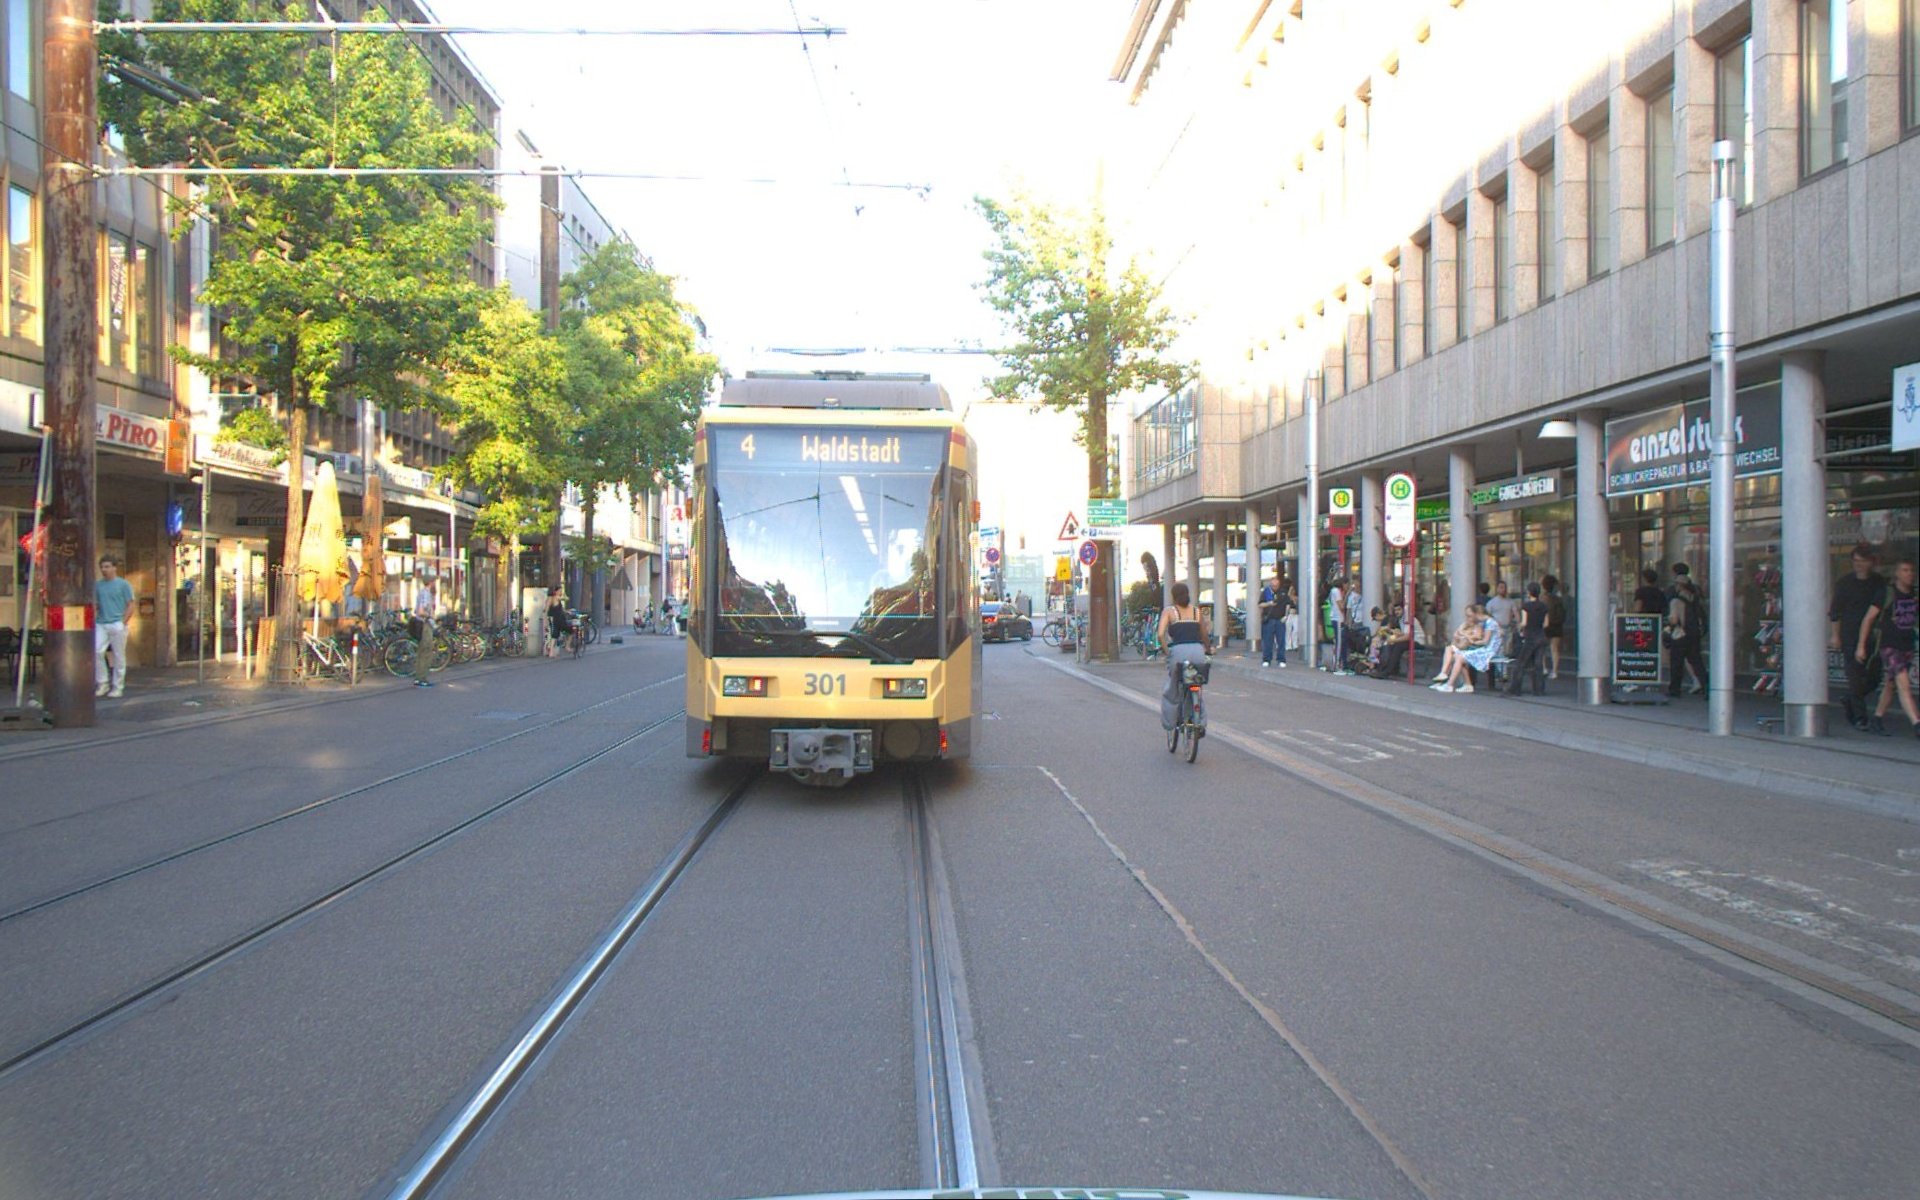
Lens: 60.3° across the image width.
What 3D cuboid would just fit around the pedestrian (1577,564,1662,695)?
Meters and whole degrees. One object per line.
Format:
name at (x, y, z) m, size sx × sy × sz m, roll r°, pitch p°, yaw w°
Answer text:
pedestrian at (9.441, 0.420, 23.710) m, size 0.827 × 1.829 × 0.858 m, roll -1°, pitch -1°, yaw -2°

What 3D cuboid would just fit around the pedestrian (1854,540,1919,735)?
pedestrian at (9.623, 0.370, 16.721) m, size 0.692 × 1.922 × 0.796 m, roll -1°, pitch -1°, yaw -1°

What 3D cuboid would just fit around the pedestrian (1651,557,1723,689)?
pedestrian at (10.836, 0.336, 24.666) m, size 0.673 × 1.916 × 0.773 m, roll -1°, pitch 0°, yaw -3°

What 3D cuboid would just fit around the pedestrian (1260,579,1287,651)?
pedestrian at (8.069, 0.375, 42.643) m, size 0.528 × 1.838 × 0.604 m, roll -1°, pitch 0°, yaw -3°

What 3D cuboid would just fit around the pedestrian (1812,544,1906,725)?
pedestrian at (9.768, 0.372, 17.989) m, size 0.603 × 1.922 × 0.683 m, roll -1°, pitch -1°, yaw -1°

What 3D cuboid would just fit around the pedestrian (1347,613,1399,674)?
pedestrian at (7.431, 0.778, 29.764) m, size 0.796 × 1.061 × 0.544 m, roll 1°, pitch -1°, yaw -1°

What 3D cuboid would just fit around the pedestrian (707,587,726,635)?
pedestrian at (-10.020, 0.472, 68.028) m, size 0.759 × 1.960 × 0.708 m, roll 0°, pitch -1°, yaw -10°

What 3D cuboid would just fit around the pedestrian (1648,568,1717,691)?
pedestrian at (10.107, 0.407, 23.142) m, size 0.635 × 1.690 × 0.680 m, roll -1°, pitch 0°, yaw -1°

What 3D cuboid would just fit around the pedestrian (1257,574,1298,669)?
pedestrian at (6.419, 0.431, 33.457) m, size 0.655 × 1.872 × 0.708 m, roll -1°, pitch 0°, yaw -3°

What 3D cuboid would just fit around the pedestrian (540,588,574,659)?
pedestrian at (-9.889, 0.574, 40.556) m, size 0.589 × 1.729 × 0.535 m, roll 1°, pitch 0°, yaw 27°

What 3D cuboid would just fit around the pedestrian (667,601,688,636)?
pedestrian at (-11.798, 0.776, 69.043) m, size 0.544 × 1.459 × 0.682 m, roll -1°, pitch -1°, yaw 35°

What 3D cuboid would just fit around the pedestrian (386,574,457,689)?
pedestrian at (-8.782, 0.501, 26.955) m, size 0.814 × 1.824 × 0.976 m, roll 0°, pitch -1°, yaw -39°

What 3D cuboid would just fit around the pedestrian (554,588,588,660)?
pedestrian at (-9.411, 0.576, 40.026) m, size 0.589 × 1.729 × 0.535 m, roll 1°, pitch 0°, yaw 27°

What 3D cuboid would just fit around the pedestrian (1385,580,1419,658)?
pedestrian at (10.101, 0.430, 37.789) m, size 0.559 × 1.762 × 0.617 m, roll -1°, pitch 0°, yaw -3°

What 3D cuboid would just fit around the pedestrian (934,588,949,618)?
pedestrian at (-1.157, 0.198, 102.029) m, size 0.722 × 1.855 × 0.816 m, roll 0°, pitch 0°, yaw -17°

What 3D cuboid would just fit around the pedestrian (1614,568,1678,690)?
pedestrian at (10.230, 0.420, 24.690) m, size 0.570 × 1.783 × 0.773 m, roll -1°, pitch 0°, yaw -3°

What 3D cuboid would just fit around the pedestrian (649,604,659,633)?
pedestrian at (-16.907, 1.025, 91.395) m, size 0.499 × 1.574 × 0.516 m, roll 0°, pitch -1°, yaw -10°

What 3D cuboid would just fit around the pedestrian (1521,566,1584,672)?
pedestrian at (10.207, 0.324, 28.505) m, size 0.757 × 1.803 × 0.773 m, roll -1°, pitch -1°, yaw -3°

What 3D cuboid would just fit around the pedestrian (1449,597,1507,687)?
pedestrian at (7.787, 0.630, 24.866) m, size 0.703 × 1.337 × 0.524 m, roll 1°, pitch -1°, yaw -1°

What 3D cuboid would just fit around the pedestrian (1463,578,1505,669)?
pedestrian at (10.227, 0.451, 32.296) m, size 0.559 × 1.762 × 0.617 m, roll -1°, pitch 0°, yaw -3°

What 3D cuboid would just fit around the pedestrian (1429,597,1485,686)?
pedestrian at (7.630, 0.630, 25.405) m, size 0.703 × 1.337 × 0.532 m, roll 1°, pitch -1°, yaw -1°

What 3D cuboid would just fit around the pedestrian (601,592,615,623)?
pedestrian at (-20.060, 0.416, 94.258) m, size 0.699 × 1.756 × 0.709 m, roll 0°, pitch -1°, yaw -4°

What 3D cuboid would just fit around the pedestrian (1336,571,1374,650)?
pedestrian at (8.596, 0.227, 36.024) m, size 0.635 × 1.690 × 0.650 m, roll -1°, pitch 0°, yaw -2°

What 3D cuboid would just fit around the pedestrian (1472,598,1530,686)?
pedestrian at (8.351, 0.639, 25.545) m, size 0.703 × 1.337 × 0.532 m, roll 1°, pitch -1°, yaw -1°

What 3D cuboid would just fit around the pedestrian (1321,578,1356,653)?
pedestrian at (9.388, 0.387, 41.072) m, size 0.649 × 1.818 × 0.719 m, roll -1°, pitch -1°, yaw -2°

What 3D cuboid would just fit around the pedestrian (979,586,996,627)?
pedestrian at (1.188, 0.281, 71.362) m, size 0.703 × 1.756 × 0.709 m, roll 0°, pitch -1°, yaw -2°

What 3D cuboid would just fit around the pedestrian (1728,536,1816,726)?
pedestrian at (8.637, 0.323, 17.612) m, size 0.566 × 1.978 × 0.655 m, roll -1°, pitch -1°, yaw -2°

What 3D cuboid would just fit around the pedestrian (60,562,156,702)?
pedestrian at (-11.506, 0.422, 22.356) m, size 0.670 × 1.824 × 0.991 m, roll 2°, pitch -1°, yaw 3°

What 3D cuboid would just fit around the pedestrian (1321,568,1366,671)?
pedestrian at (7.073, 0.355, 30.506) m, size 0.626 × 1.872 × 0.667 m, roll -1°, pitch 0°, yaw -1°

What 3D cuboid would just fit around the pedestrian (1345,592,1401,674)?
pedestrian at (7.219, 0.576, 28.934) m, size 0.796 × 1.405 × 0.662 m, roll 1°, pitch -1°, yaw -1°

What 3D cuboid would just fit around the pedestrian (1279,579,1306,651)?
pedestrian at (8.595, 0.381, 42.752) m, size 0.528 × 1.838 × 0.604 m, roll -1°, pitch 0°, yaw -3°

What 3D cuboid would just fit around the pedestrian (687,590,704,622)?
pedestrian at (-13.508, 0.301, 84.362) m, size 0.623 × 1.616 × 0.595 m, roll 1°, pitch -1°, yaw -45°

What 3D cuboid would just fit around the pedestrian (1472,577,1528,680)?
pedestrian at (9.109, 0.474, 27.903) m, size 0.673 × 1.690 × 0.722 m, roll -1°, pitch -1°, yaw -1°

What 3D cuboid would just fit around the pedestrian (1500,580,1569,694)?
pedestrian at (8.233, 0.525, 23.733) m, size 0.709 × 1.597 × 0.736 m, roll -1°, pitch -1°, yaw 0°

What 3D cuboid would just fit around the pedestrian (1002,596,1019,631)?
pedestrian at (2.668, 0.717, 87.393) m, size 0.722 × 1.855 × 0.816 m, roll 0°, pitch 0°, yaw -17°

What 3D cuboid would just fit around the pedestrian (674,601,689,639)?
pedestrian at (-11.007, 0.794, 65.376) m, size 0.592 × 1.520 × 0.554 m, roll 0°, pitch -1°, yaw -10°
